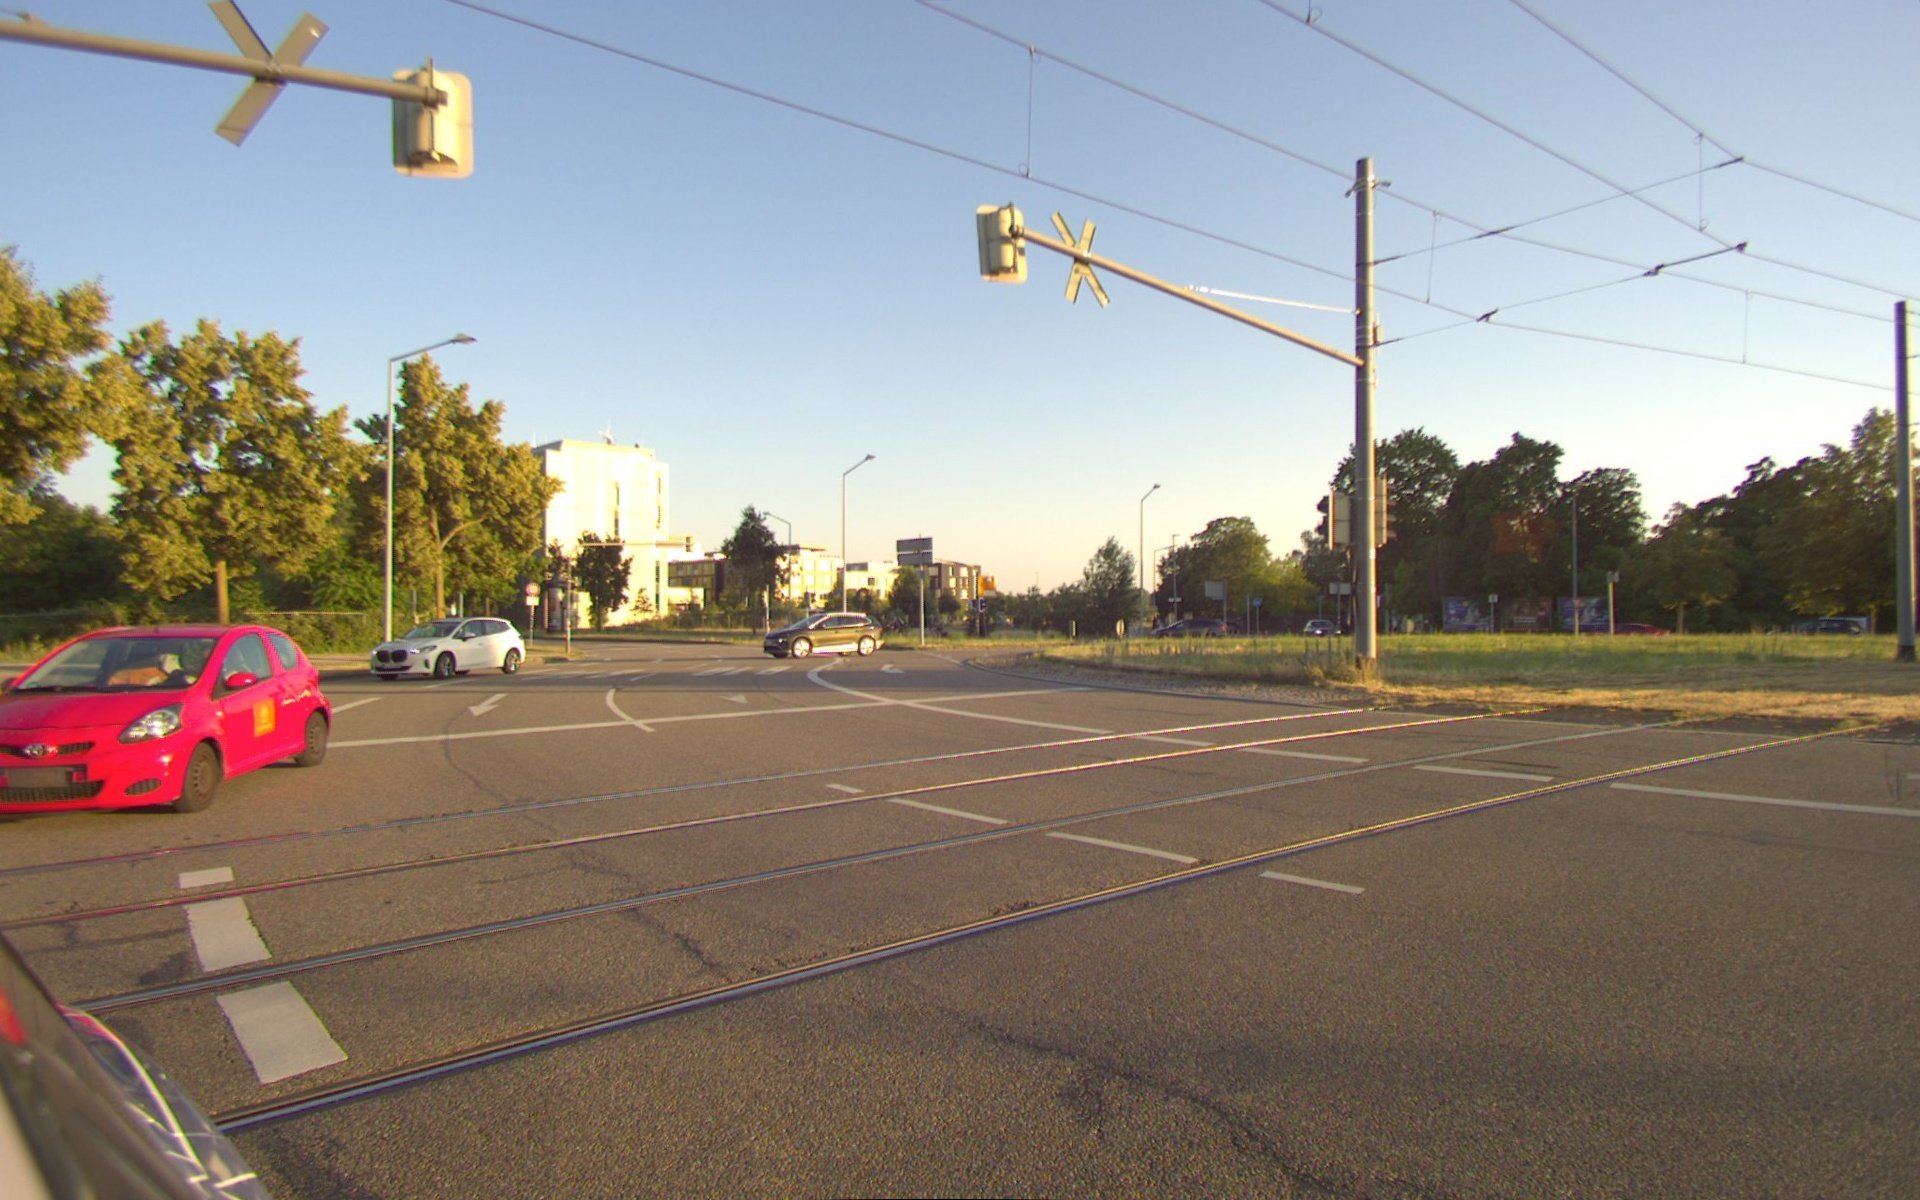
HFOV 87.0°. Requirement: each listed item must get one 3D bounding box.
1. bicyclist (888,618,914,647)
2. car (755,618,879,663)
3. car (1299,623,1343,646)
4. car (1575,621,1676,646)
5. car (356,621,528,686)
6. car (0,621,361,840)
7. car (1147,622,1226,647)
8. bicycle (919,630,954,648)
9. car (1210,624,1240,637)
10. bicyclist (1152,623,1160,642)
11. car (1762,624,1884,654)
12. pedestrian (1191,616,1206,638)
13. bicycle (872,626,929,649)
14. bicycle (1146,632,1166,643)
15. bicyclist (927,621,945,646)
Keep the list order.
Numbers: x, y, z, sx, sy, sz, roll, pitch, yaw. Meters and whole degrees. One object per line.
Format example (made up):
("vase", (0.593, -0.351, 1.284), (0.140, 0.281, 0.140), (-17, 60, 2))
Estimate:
("bicyclist", (-3.734, 2.057, 64.324), (1.393, 1.762, 1.127), (0, -1, -18))
("car", (-5.234, 1.448, 37.263), (4.144, 1.570, 1.833), (1, -2, -33))
("car", (24.590, 2.357, 69.076), (1.819, 1.512, 4.247), (0, -1, 6))
("car", (39.214, 1.985, 59.728), (1.912, 1.443, 4.607), (1, -2, -34))
("car", (-13.510, 1.354, 26.706), (1.743, 1.570, 4.196), (-1, -2, 14))
("car", (-6.921, 0.926, 8.896), (1.666, 1.432, 4.222), (-1, -1, -13))
("car", (13.112, 2.014, 58.881), (4.354, 1.443, 1.939), (-1, -2, 10))
("bicycle", (-1.605, 2.659, 69.088), (2.289, 1.188, 0.813), (0, -1, -28))
("car", (30.835, 3.563, 117.893), (1.915, 1.443, 4.408), (0, -2, -5))
("bicyclist", (14.389, 2.366, 74.322), (0.441, 1.408, 0.474), (0, -2, -3))
("car", (43.790, 1.967, 51.441), (1.912, 1.443, 4.332), (1, -2, -32))
("pedestrian", (18.461, 2.091, 78.335), (0.875, 1.714, 0.723), (1, -2, -29))
("bicycle", (-3.773, 2.388, 64.297), (3.478, 1.406, 1.127), (0, -1, -18))
("bicycle", (14.381, 2.743, 74.325), (1.398, 0.797, 0.474), (0, -2, -3))
("bicyclist", (-1.623, 2.286, 69.078), (0.983, 1.645, 0.813), (1, -1, -28))
